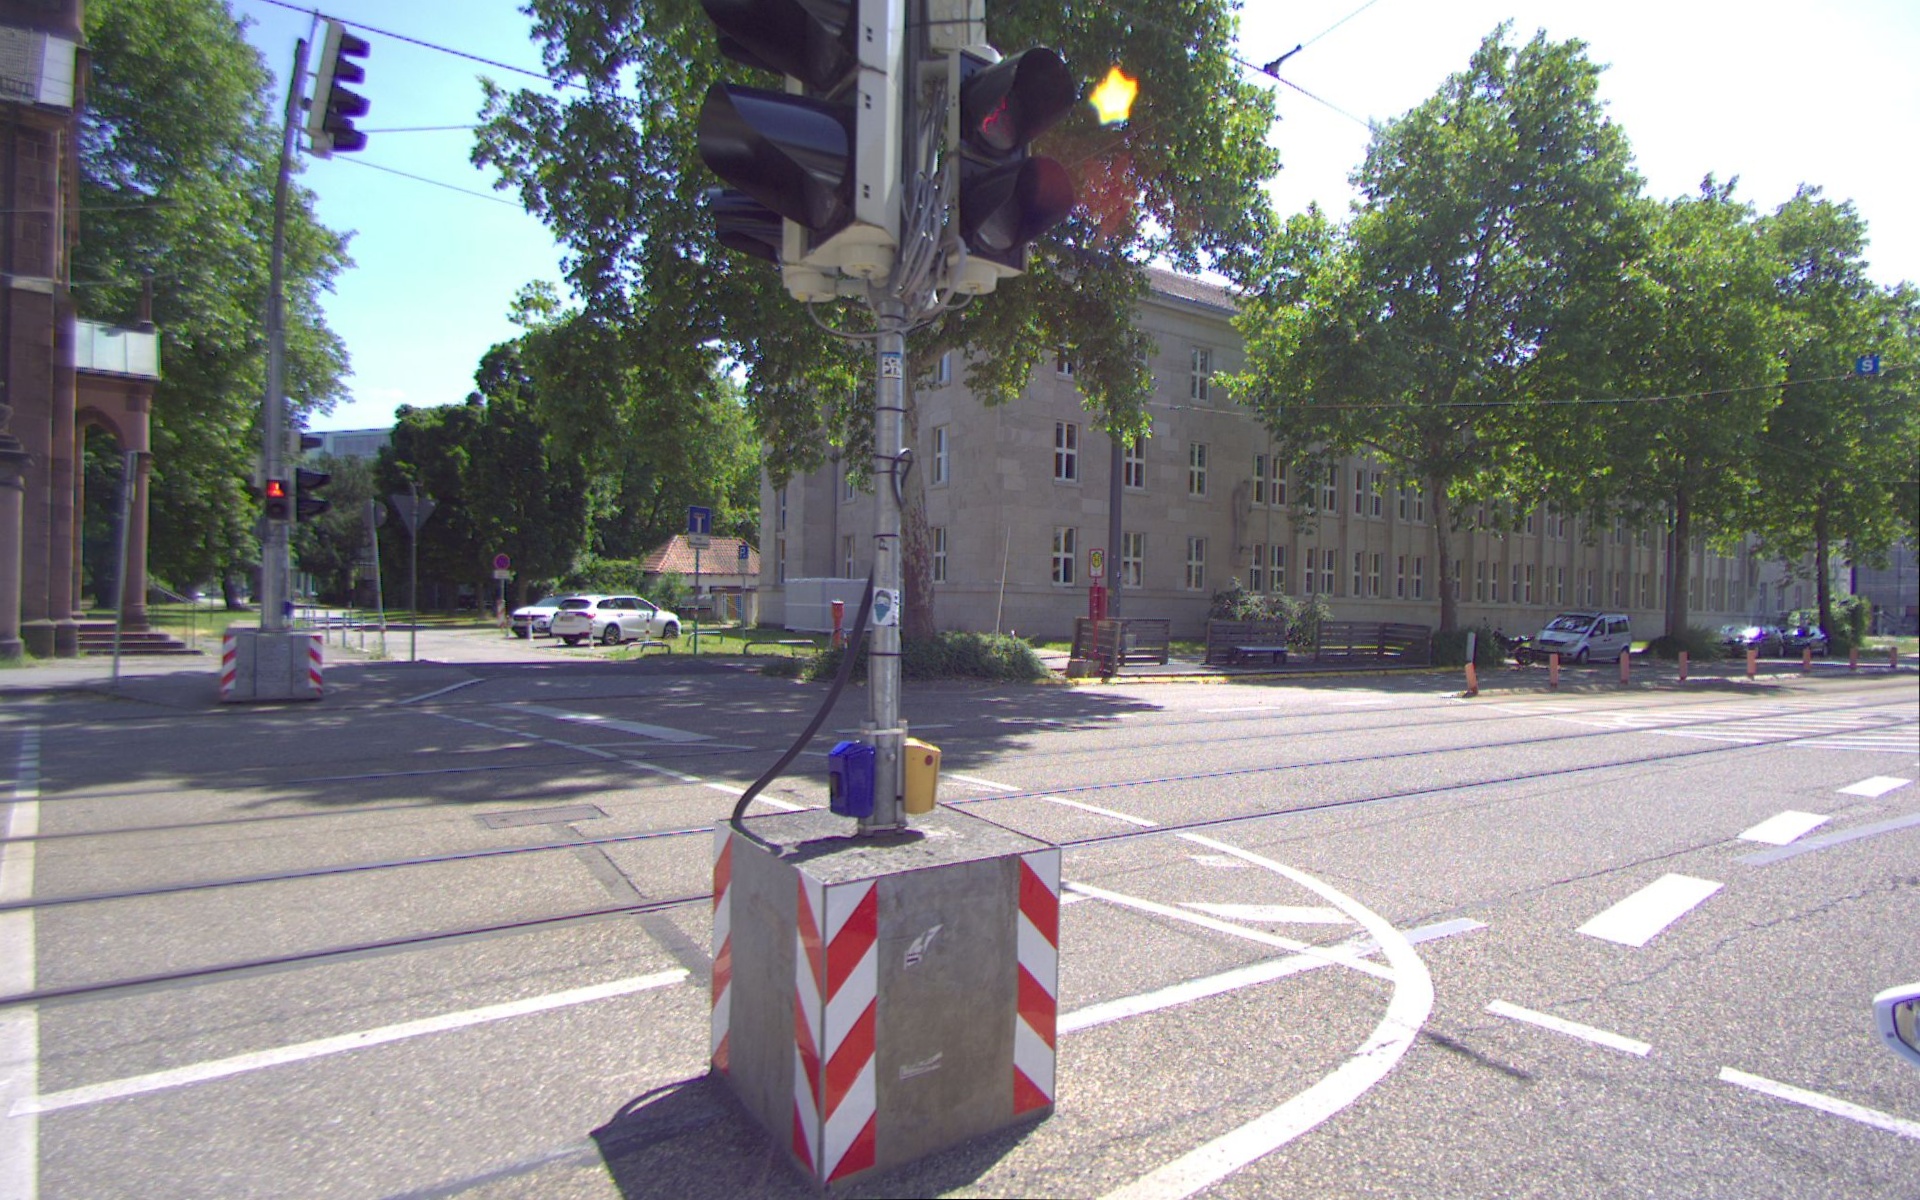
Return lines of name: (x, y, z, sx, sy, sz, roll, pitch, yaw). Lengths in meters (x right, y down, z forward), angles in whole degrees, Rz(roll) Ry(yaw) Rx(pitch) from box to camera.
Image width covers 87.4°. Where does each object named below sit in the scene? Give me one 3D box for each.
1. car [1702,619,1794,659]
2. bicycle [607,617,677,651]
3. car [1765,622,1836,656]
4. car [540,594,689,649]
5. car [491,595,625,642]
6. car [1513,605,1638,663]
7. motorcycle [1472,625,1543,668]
car: (33.423, 1.642, 42.579, 4.277, 1.503, 1.752, 2, 1, -33)
bicycle: (-9.218, 0.973, 29.169, 0.634, 0.913, 1.901, 3, 1, 36)
car: (38.292, 1.757, 45.740, 4.284, 1.443, 1.576, 1, 1, -38)
car: (-10.682, 0.619, 31.447, 1.878, 1.528, 4.534, 2, 1, 22)
car: (-14.434, 0.625, 36.358, 1.878, 1.528, 4.534, 2, 1, 22)
car: (21.418, 1.164, 34.944, 4.253, 1.835, 1.982, 2, 1, -32)
motorcycle: (17.534, 1.481, 32.231, 1.837, 1.082, 0.726, 8, 4, 26)
